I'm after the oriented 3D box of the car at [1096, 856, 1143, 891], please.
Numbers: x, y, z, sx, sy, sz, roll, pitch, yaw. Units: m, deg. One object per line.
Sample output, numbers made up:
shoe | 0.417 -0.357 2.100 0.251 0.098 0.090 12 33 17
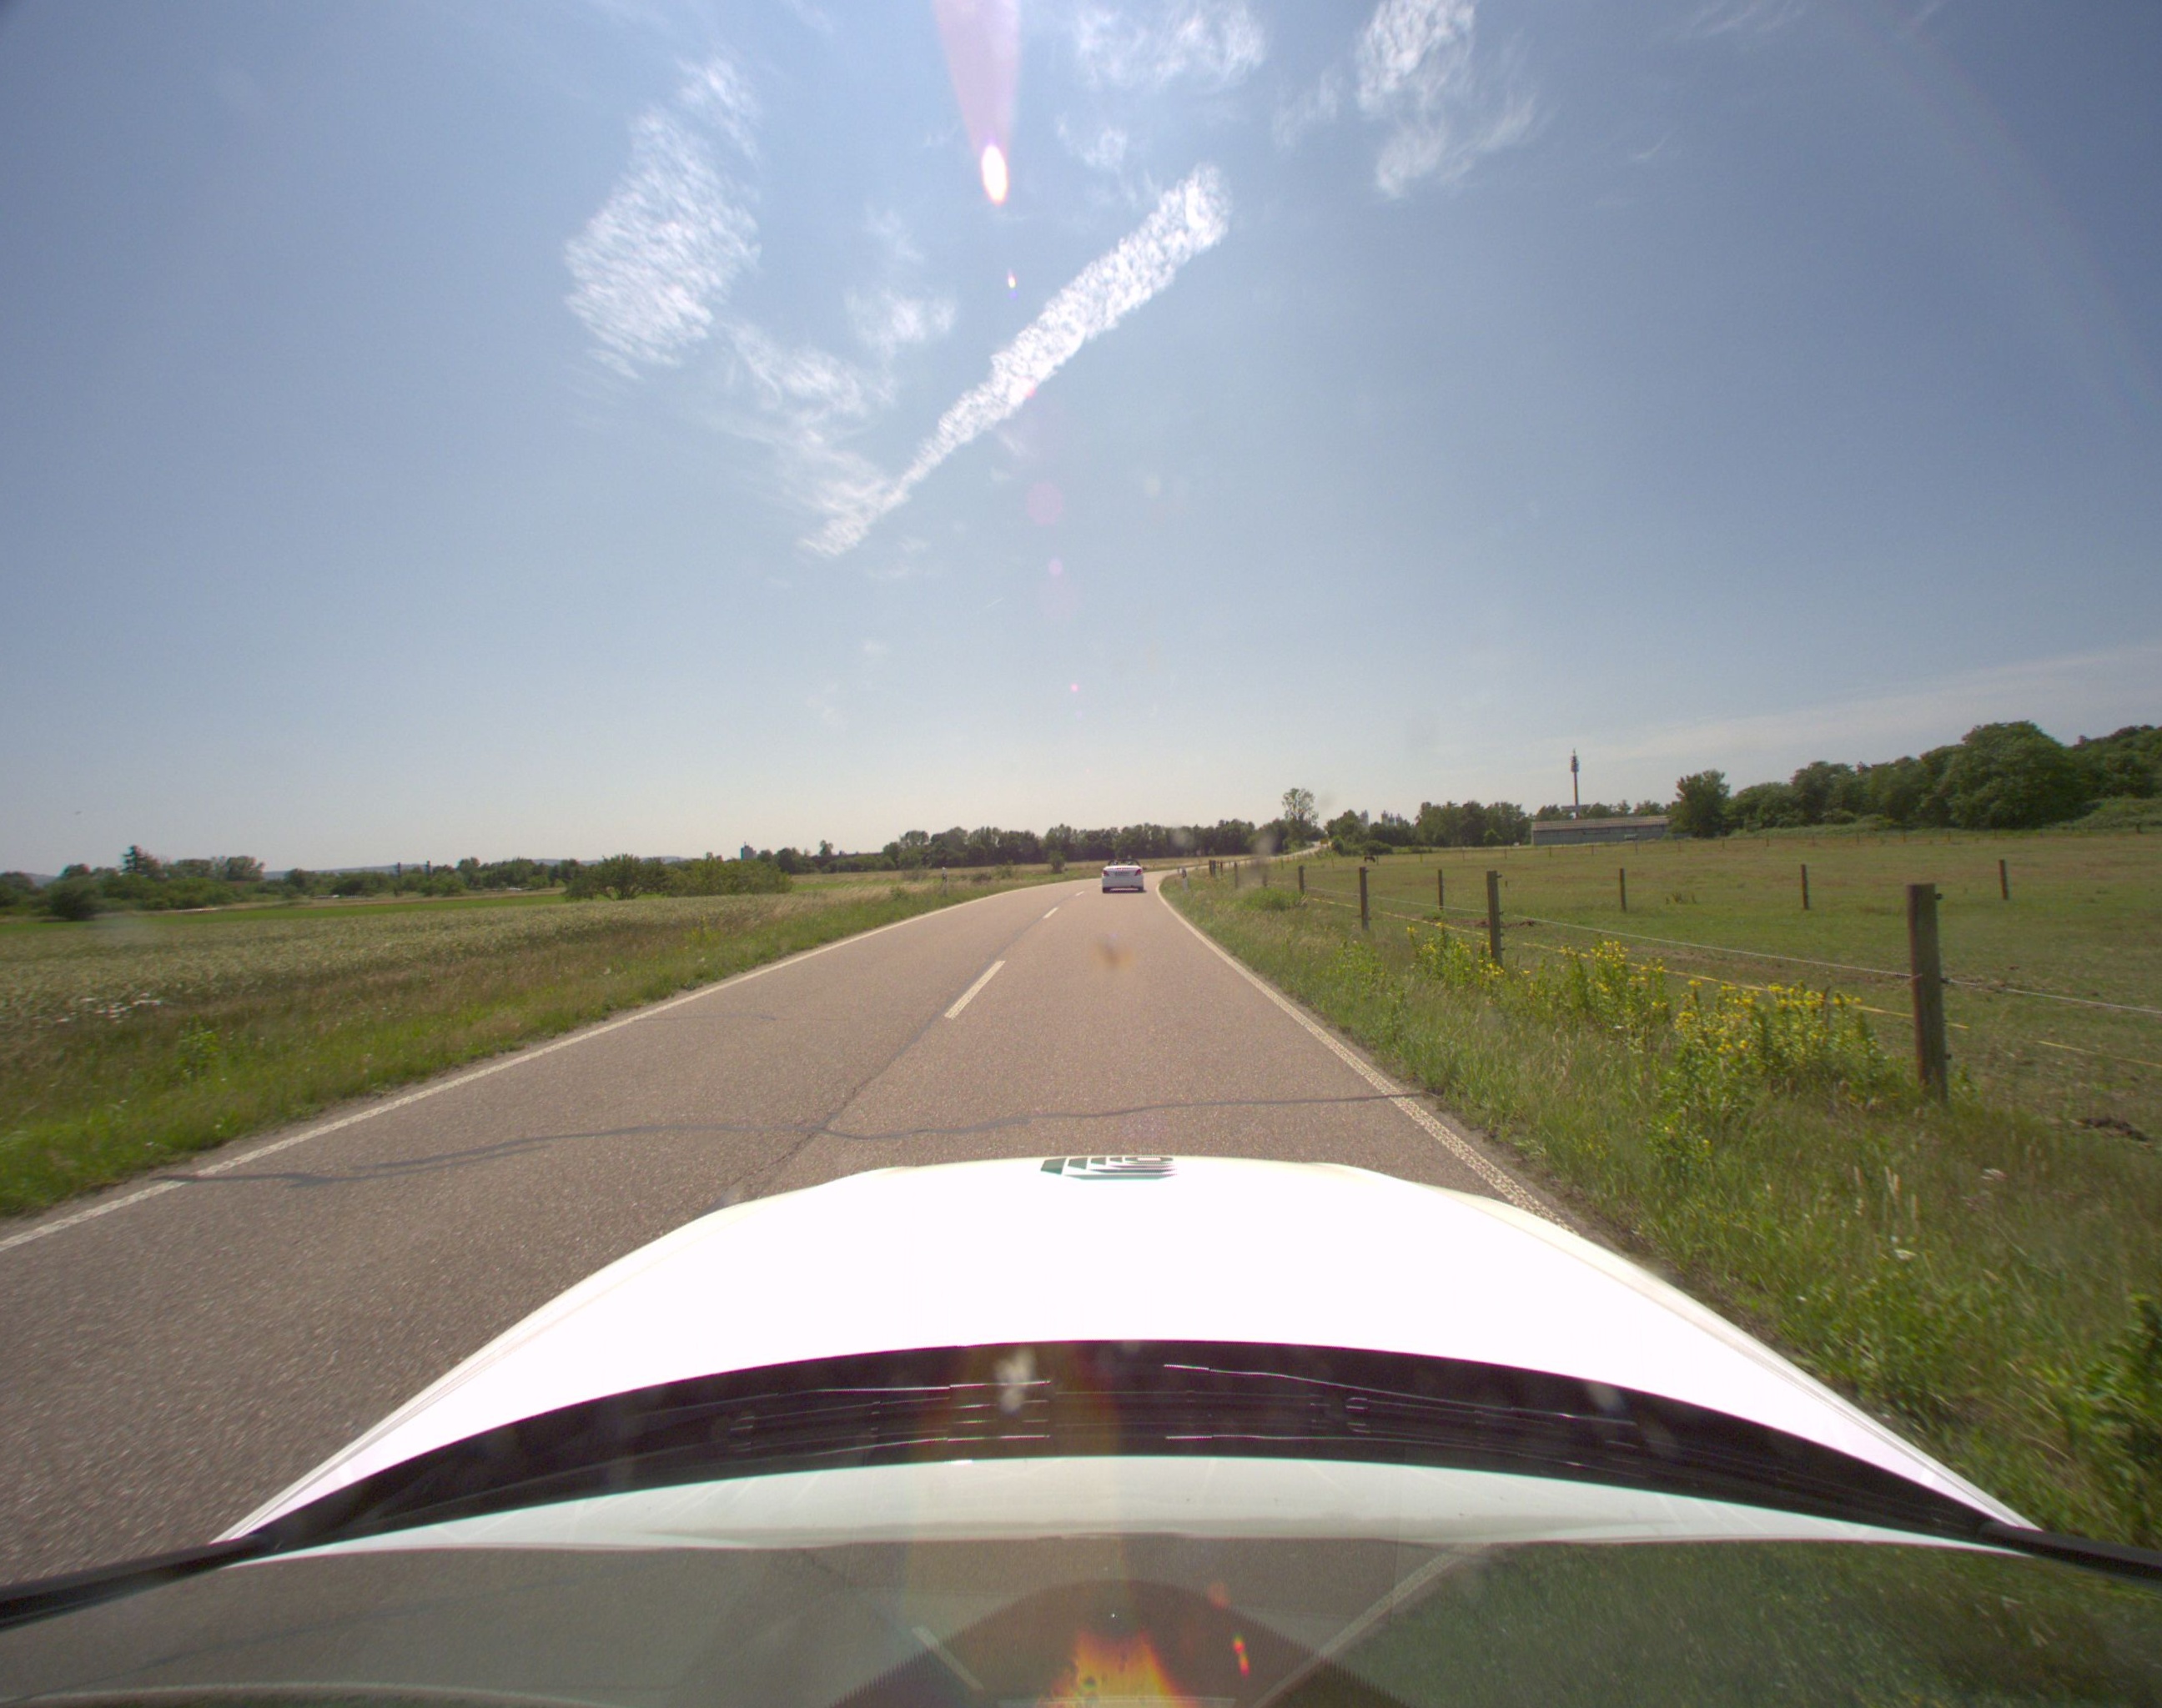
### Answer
car | 1.688 0.811 34.674 1.843 1.379 4.004 -1 -1 4
